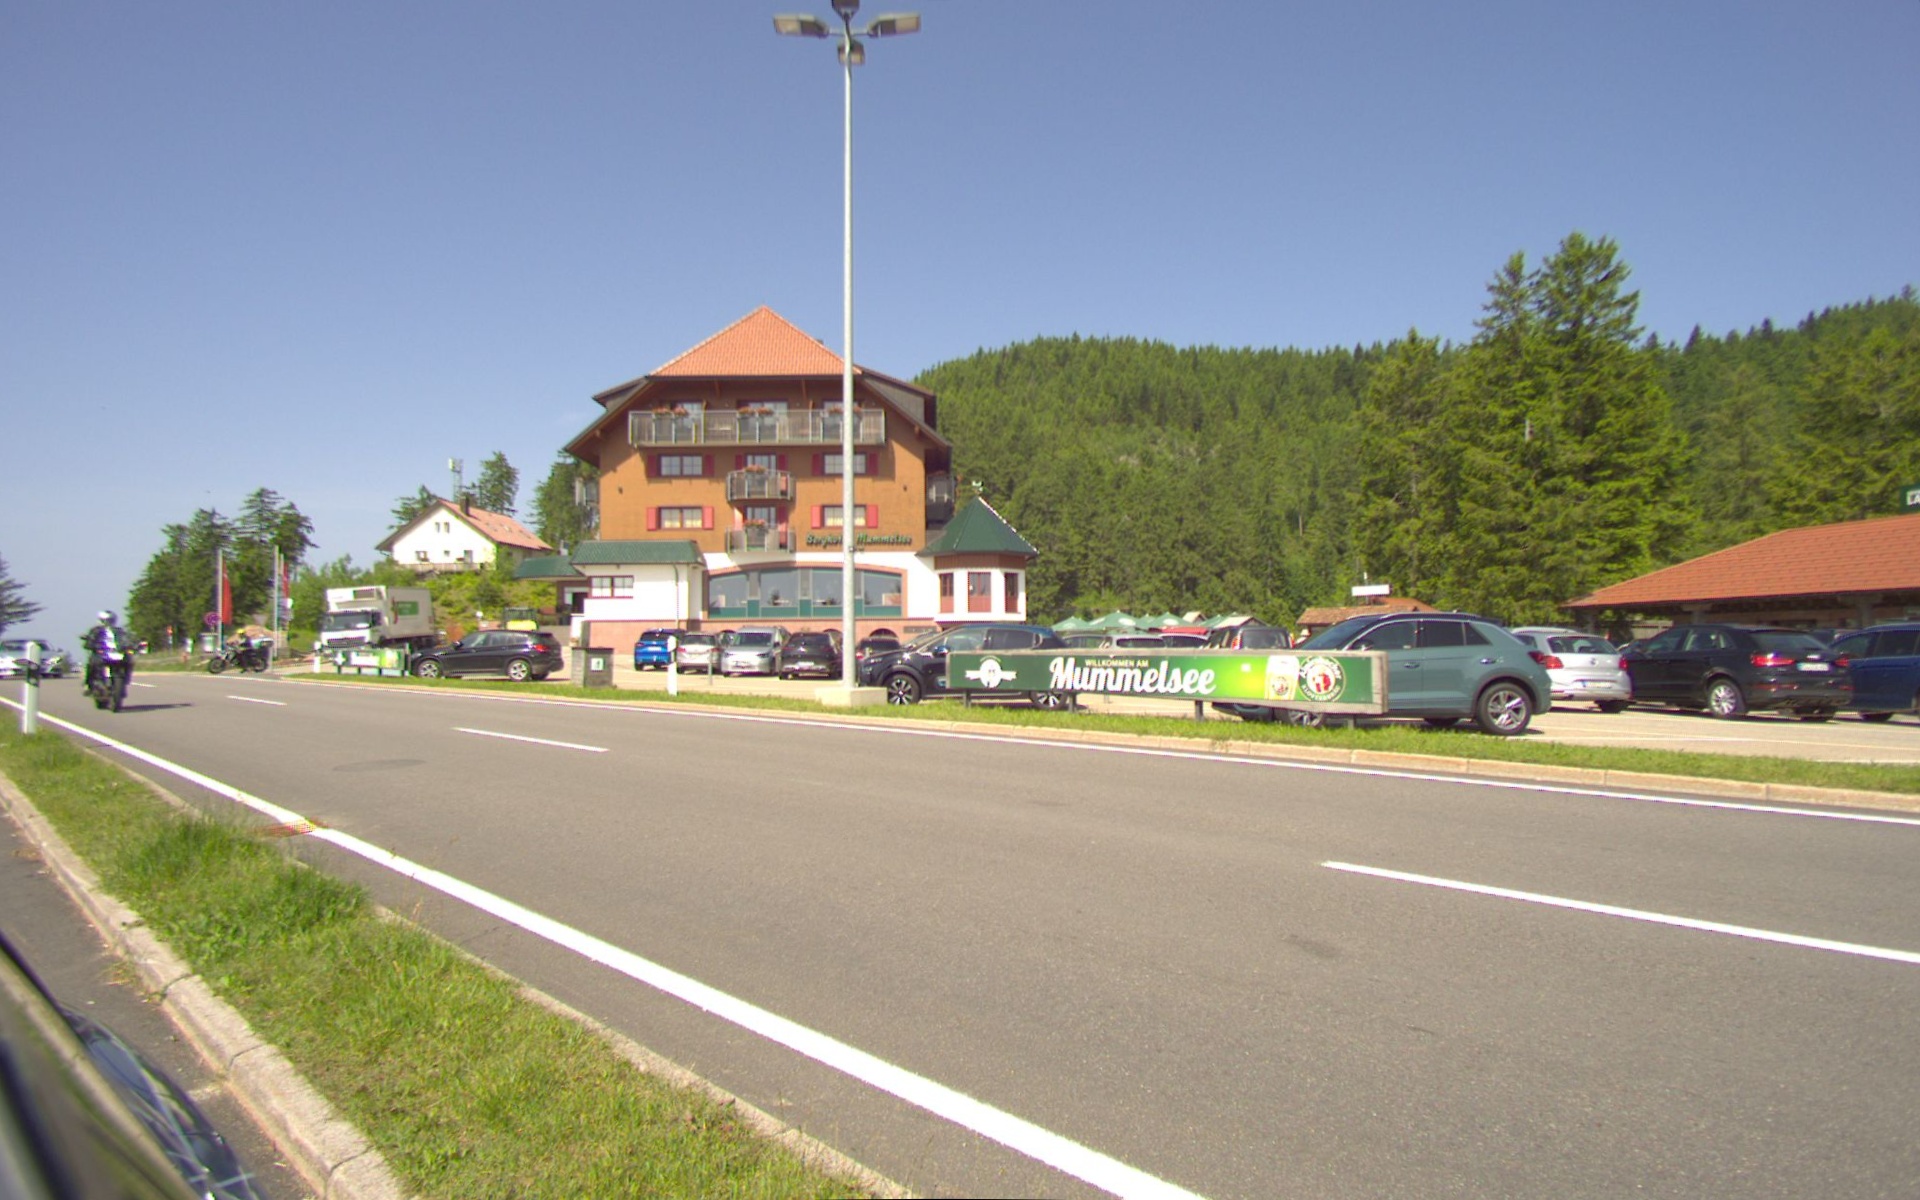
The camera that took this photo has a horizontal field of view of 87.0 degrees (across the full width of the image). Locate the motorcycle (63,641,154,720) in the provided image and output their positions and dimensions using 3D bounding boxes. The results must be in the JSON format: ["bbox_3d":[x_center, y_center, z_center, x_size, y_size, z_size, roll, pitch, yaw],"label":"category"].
[{"bbox_3d":[-14.997,1.366,17.800,2.276,1.266,0.867,-1,-1,41],"label":"motorcycle"}]

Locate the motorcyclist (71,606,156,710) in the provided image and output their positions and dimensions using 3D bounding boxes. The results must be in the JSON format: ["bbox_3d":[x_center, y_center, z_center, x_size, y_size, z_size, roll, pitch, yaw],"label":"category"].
[{"bbox_3d":[-14.826,0.989,17.710,1.451,1.731,0.913,-1,-1,41],"label":"motorcyclist"}]

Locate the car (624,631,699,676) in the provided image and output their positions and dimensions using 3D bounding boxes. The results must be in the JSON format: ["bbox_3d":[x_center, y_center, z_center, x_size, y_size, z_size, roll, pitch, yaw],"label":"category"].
[{"bbox_3d":[-11.924,2.124,40.691,1.911,1.676,4.548,0,-2,-3],"label":"car"}]

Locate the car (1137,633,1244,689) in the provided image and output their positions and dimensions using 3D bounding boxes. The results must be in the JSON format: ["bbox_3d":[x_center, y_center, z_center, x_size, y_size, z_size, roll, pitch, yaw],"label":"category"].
[{"bbox_3d":[6.825,1.814,30.385,1.969,1.564,4.004,0,-3,-5],"label":"car"}]

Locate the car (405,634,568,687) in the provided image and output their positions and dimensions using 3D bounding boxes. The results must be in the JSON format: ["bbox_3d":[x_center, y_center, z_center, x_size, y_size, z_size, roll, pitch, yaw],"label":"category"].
[{"bbox_3d":[-14.445,1.850,31.046,4.131,1.552,1.808,0,-3,-2],"label":"car"}]

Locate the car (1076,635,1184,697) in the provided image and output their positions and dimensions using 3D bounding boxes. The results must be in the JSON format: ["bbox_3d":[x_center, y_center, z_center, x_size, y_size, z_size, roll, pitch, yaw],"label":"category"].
[{"bbox_3d":[4.072,1.620,24.906,1.786,1.381,4.002,0,-3,-3],"label":"car"}]

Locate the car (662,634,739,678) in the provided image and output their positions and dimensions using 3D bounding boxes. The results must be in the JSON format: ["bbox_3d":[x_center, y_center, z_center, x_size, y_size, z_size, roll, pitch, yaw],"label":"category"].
[{"bbox_3d":[-9.694,2.127,38.099,1.971,1.557,4.000,0,-3,-1],"label":"car"}]

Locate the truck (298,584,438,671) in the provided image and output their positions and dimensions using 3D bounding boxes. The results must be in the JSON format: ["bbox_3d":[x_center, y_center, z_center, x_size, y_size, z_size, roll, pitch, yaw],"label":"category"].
[{"bbox_3d":[-30.420,1.374,52.538,3.022,4.002,8.787,-3,0,-8],"label":"truck"}]

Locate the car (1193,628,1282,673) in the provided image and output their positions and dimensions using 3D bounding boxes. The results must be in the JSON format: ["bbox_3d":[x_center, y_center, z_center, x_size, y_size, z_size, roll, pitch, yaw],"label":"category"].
[{"bbox_3d":[10.139,1.881,37.259,1.881,1.542,3.885,0,-3,-5],"label":"car"}]

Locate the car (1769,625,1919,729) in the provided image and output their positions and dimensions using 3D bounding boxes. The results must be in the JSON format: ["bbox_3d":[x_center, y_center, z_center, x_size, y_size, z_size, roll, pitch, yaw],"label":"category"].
[{"bbox_3d":[15.672,1.222,16.250,1.971,1.586,4.001,0,-3,-2],"label":"car"}]

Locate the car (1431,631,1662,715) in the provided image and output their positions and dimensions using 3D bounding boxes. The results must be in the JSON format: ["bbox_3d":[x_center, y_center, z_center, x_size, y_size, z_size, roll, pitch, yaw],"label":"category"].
[{"bbox_3d":[10.926,1.354,19.241,1.880,1.431,4.001,0,-3,-2],"label":"car"}]

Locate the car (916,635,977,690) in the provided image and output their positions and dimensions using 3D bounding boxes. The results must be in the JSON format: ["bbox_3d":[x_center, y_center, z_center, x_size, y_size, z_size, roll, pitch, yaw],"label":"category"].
[{"bbox_3d":[-0.465,1.851,30.131,1.691,1.497,4.081,0,-3,-3],"label":"car"}]

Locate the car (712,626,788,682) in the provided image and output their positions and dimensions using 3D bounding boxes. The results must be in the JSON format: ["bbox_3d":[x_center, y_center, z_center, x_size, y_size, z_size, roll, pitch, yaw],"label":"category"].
[{"bbox_3d":[-7.498,1.974,36.538,1.809,1.878,4.529,-1,-3,0],"label":"car"}]

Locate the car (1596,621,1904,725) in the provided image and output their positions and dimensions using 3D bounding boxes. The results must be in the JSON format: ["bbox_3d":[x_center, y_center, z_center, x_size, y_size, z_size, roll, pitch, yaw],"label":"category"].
[{"bbox_3d":[13.286,1.225,17.404,1.971,1.586,4.001,0,-3,-2],"label":"car"}]

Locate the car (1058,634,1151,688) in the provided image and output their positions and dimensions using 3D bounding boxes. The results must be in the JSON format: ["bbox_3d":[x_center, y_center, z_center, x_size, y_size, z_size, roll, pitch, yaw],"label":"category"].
[{"bbox_3d":[4.376,1.881,31.275,1.969,1.564,4.004,0,-3,-5],"label":"car"}]

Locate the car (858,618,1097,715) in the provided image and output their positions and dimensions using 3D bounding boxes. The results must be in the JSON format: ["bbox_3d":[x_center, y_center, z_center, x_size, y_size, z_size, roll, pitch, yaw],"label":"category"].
[{"bbox_3d":[0.321,1.148,17.654,3.948,1.564,1.781,-1,-3,4],"label":"car"}]

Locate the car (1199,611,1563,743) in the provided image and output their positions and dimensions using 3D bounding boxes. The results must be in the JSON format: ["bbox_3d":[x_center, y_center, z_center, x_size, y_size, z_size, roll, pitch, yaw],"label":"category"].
[{"bbox_3d":[5.375,0.970,13.303,4.001,1.579,1.741,0,-2,-1],"label":"car"}]

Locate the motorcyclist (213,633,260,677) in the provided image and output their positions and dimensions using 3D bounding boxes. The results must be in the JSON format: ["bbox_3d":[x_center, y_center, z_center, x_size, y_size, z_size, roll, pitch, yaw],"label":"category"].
[{"bbox_3d":[-29.729,2.243,41.581,1.061,1.733,1.234,-1,-2,32],"label":"motorcyclist"}]

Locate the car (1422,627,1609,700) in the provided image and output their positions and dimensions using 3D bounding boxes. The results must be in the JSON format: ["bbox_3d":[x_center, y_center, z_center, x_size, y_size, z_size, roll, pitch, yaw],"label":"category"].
[{"bbox_3d":[13.154,1.514,24.277,1.969,1.586,4.004,0,-3,-5],"label":"car"}]

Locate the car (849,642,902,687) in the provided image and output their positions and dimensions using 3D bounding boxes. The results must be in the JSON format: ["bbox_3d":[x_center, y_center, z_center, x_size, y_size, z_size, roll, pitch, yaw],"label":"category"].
[{"bbox_3d":[-2.678,2.025,32.128,1.563,1.331,3.642,0,-3,-5],"label":"car"}]

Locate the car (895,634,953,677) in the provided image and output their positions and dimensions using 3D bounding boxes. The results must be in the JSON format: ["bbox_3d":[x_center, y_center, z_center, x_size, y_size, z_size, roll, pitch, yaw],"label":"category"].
[{"bbox_3d":[-1.375,2.049,37.297,1.906,1.494,4.004,0,-3,-5],"label":"car"}]

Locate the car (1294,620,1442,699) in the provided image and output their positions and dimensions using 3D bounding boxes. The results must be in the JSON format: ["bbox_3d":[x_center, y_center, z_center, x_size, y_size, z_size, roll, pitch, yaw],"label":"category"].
[{"bbox_3d":[10.677,1.570,26.851,1.969,1.918,4.004,0,-3,-5],"label":"car"}]

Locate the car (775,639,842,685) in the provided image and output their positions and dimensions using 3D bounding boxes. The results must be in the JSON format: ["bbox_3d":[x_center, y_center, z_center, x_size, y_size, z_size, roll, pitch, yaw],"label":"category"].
[{"bbox_3d":[-5.022,2.070,33.995,1.886,1.441,4.002,0,-3,-3],"label":"car"}]

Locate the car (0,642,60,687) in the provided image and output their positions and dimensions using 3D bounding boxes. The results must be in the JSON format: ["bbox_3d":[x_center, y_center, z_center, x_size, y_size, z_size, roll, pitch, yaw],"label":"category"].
[{"bbox_3d":[-32.680,2.233,35.114,3.999,1.468,1.757,-4,-5,43],"label":"car"}]

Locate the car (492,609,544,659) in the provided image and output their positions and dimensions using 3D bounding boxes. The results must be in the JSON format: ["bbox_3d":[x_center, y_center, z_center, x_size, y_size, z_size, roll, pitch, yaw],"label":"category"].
[{"bbox_3d":[-23.529,1.858,53.794,1.966,2.515,4.011,2,-4,-31],"label":"car"}]

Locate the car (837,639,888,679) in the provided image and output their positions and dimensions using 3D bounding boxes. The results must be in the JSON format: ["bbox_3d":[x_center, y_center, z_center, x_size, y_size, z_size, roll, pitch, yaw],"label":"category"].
[{"bbox_3d":[-3.809,2.316,39.669,1.906,1.494,4.004,0,-3,-5],"label":"car"}]

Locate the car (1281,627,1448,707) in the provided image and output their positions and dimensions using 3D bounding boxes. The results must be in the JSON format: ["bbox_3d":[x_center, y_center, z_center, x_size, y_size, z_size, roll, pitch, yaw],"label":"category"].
[{"bbox_3d":[8.613,1.430,21.961,1.872,1.557,4.000,0,-3,-1],"label":"car"}]

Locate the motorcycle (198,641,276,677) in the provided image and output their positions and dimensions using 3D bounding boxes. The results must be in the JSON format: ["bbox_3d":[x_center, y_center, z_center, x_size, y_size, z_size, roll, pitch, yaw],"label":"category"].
[{"bbox_3d":[-29.696,2.409,41.599,1.003,1.417,2.418,-1,-2,32],"label":"motorcycle"}]

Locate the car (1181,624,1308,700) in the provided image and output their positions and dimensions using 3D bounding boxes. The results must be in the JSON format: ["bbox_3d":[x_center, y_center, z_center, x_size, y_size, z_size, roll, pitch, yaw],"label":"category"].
[{"bbox_3d":[6.455,1.426,23.393,1.710,1.600,3.734,0,-3,-2],"label":"car"}]
